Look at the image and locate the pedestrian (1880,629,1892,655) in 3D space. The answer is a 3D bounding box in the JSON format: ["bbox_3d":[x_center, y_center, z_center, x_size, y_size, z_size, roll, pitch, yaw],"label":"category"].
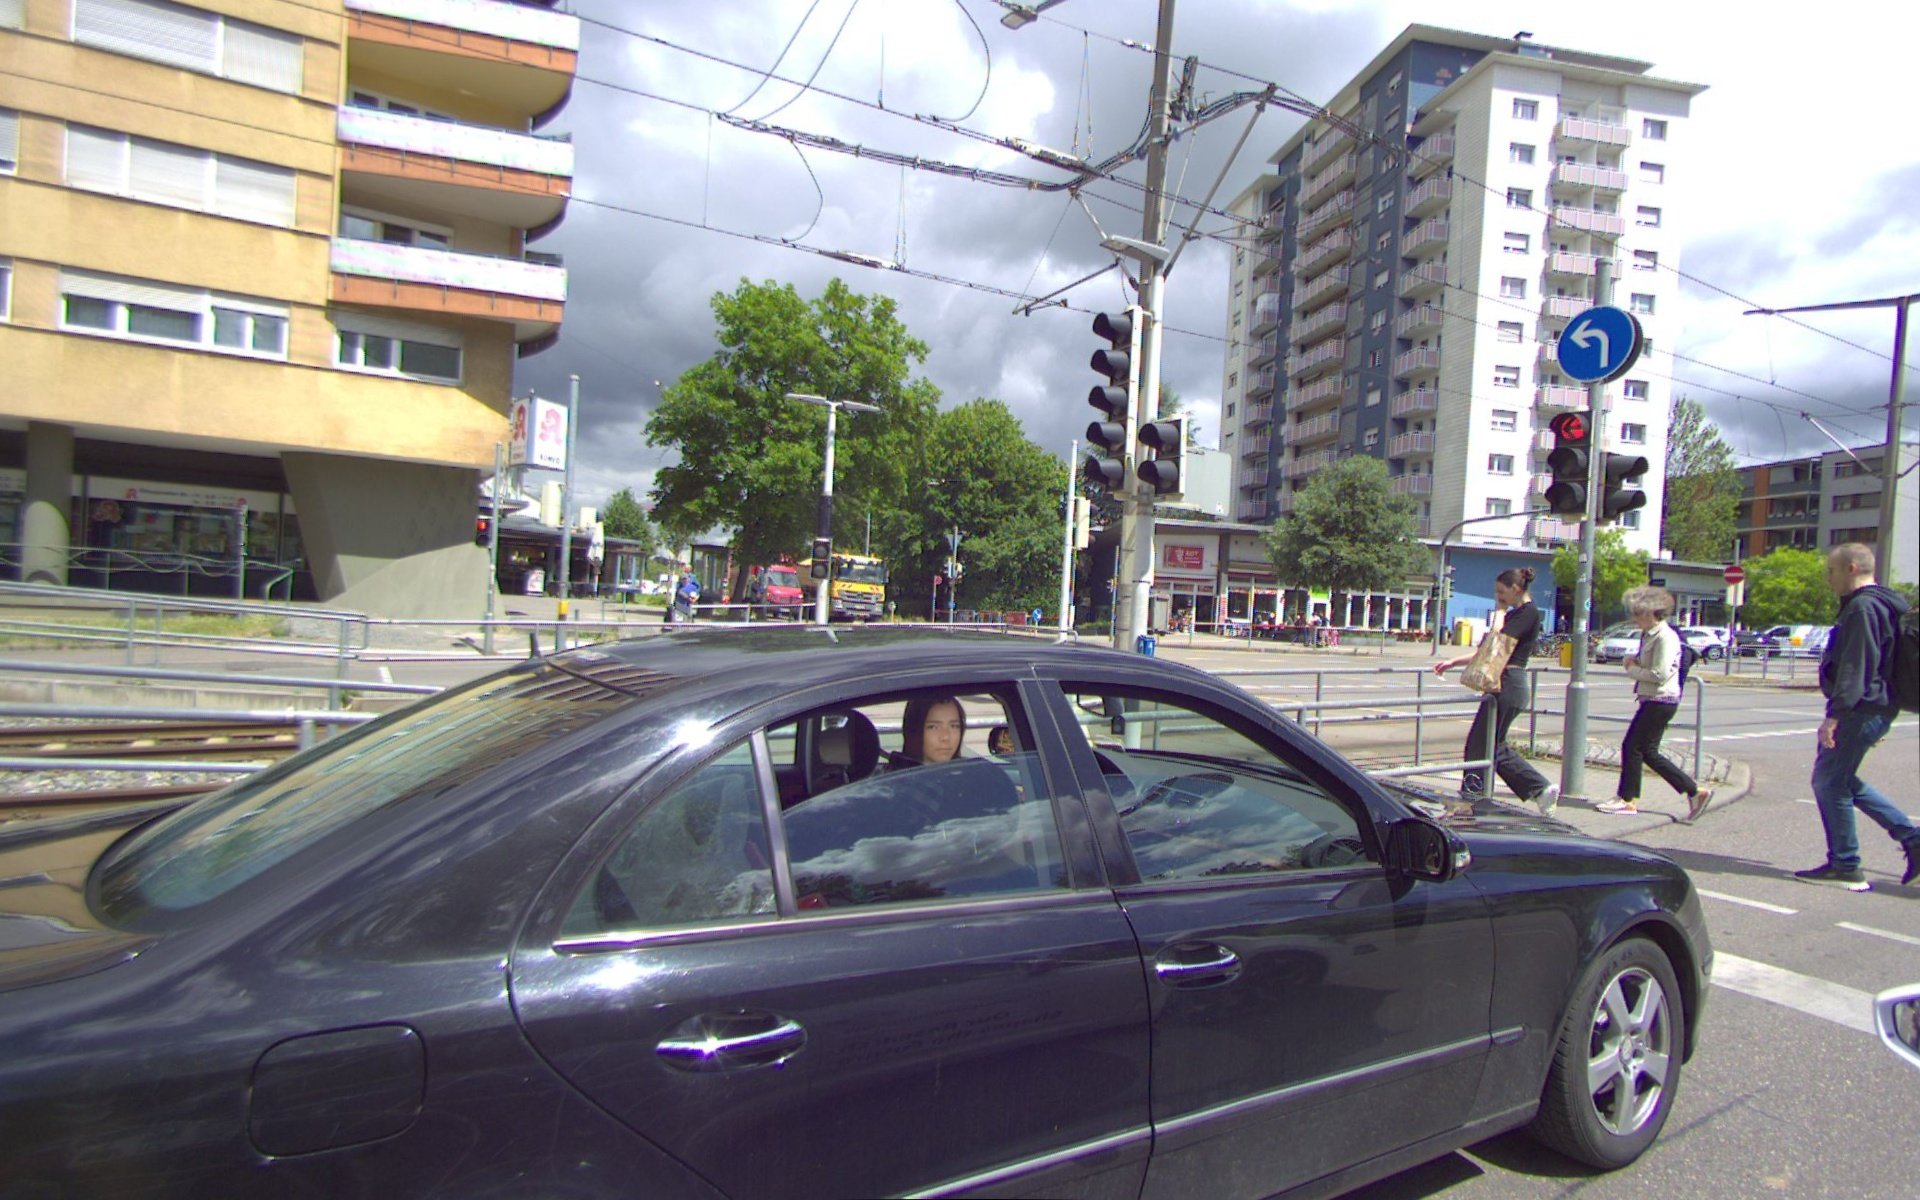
[{"bbox_3d":[64.790,2.939,70.297,0.401,1.739,0.542,1,0,-39],"label":"pedestrian"}]

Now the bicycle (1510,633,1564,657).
[{"bbox_3d":[24.432,1.893,42.573,0.490,0.947,1.933,2,0,-35],"label":"bicycle"}]

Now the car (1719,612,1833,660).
[{"bbox_3d":[47.509,2.006,58.747,2.776,2.511,6.724,2,0,17],"label":"car"}]

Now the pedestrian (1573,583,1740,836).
[{"bbox_3d":[5.085,0.740,7.356,0.940,1.696,0.868,1,-1,36],"label":"pedestrian"}]

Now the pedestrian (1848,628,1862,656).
[{"bbox_3d":[57.100,2.697,64.065,0.400,1.739,0.544,1,0,-30],"label":"pedestrian"}]

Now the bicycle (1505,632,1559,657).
[{"bbox_3d":[24.062,1.879,42.293,0.490,0.947,1.933,2,0,-35],"label":"bicycle"}]

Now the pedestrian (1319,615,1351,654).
[{"bbox_3d":[16.786,1.522,44.972,1.077,1.681,0.948,2,-1,6],"label":"pedestrian"}]

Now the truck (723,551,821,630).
[{"bbox_3d":[-9.047,-0.434,47.444,2.692,3.320,8.876,2,0,-23],"label":"truck"}]

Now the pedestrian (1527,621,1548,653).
[{"bbox_3d":[30.117,1.924,52.412,0.693,1.637,0.759,1,0,-44],"label":"pedestrian"}]

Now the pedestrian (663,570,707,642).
[{"bbox_3d":[-6.587,0.136,24.070,0.750,1.638,0.780,2,4,9],"label":"pedestrian"}]

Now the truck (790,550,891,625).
[{"bbox_3d":[-5.842,-0.560,47.974,2.733,3.244,7.442,2,0,-23],"label":"truck"}]

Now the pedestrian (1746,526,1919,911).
[{"bbox_3d":[5.141,0.608,5.577,0.888,1.968,0.960,1,1,-34],"label":"pedestrian"}]

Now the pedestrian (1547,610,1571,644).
[{"bbox_3d":[35.990,1.617,60.373,1.205,1.942,0.857,1,1,-42],"label":"pedestrian"}]

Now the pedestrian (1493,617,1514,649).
[{"bbox_3d":[28.807,1.752,53.219,0.693,1.637,0.760,1,0,-43],"label":"pedestrian"}]

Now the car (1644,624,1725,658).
[{"bbox_3d":[37.890,2.116,52.627,1.921,1.591,4.220,2,0,13],"label":"car"}]

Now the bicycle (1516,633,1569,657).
[{"bbox_3d":[24.842,1.908,42.863,0.490,0.947,1.933,2,0,-35],"label":"bicycle"}]

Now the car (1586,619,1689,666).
[{"bbox_3d":[26.903,1.686,39.868,3.827,1.715,1.928,2,0,-30],"label":"car"}]

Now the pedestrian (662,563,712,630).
[{"bbox_3d":[-7.102,-0.089,26.146,0.751,1.636,0.780,8,1,22],"label":"pedestrian"}]

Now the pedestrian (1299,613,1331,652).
[{"bbox_3d":[15.675,1.444,44.368,1.077,1.681,0.948,2,-1,6],"label":"pedestrian"}]

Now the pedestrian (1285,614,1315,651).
[{"bbox_3d":[15.639,1.485,46.213,0.977,1.681,0.969,2,-1,-4],"label":"pedestrian"}]

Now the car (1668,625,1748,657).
[{"bbox_3d":[40.521,2.199,54.509,1.921,1.558,4.220,2,0,13],"label":"car"}]

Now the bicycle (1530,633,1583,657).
[{"bbox_3d":[25.777,1.941,43.452,0.490,0.947,1.933,2,0,-35],"label":"bicycle"}]

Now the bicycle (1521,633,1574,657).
[{"bbox_3d":[25.227,1.922,43.137,0.490,0.947,1.933,2,0,-35],"label":"bicycle"}]

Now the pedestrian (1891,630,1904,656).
[{"bbox_3d":[65.156,2.992,69.836,0.663,1.739,0.542,1,0,-40],"label":"pedestrian"}]

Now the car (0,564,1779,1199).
[{"bbox_3d":[0.101,0.739,2.652,4.491,1.481,1.720,2,0,-30],"label":"car"}]

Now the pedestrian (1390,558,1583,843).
[{"bbox_3d":[3.605,0.630,6.899,0.766,1.789,0.925,1,1,-41],"label":"pedestrian"}]

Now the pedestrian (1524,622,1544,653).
[{"bbox_3d":[31.158,2.024,54.545,0.693,1.637,0.760,1,0,-43],"label":"pedestrian"}]

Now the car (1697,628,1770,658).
[{"bbox_3d":[43.201,2.381,56.190,1.754,1.439,4.219,2,0,15],"label":"car"}]

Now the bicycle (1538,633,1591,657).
[{"bbox_3d":[26.242,1.957,43.659,0.490,0.947,1.933,2,0,-35],"label":"bicycle"}]
